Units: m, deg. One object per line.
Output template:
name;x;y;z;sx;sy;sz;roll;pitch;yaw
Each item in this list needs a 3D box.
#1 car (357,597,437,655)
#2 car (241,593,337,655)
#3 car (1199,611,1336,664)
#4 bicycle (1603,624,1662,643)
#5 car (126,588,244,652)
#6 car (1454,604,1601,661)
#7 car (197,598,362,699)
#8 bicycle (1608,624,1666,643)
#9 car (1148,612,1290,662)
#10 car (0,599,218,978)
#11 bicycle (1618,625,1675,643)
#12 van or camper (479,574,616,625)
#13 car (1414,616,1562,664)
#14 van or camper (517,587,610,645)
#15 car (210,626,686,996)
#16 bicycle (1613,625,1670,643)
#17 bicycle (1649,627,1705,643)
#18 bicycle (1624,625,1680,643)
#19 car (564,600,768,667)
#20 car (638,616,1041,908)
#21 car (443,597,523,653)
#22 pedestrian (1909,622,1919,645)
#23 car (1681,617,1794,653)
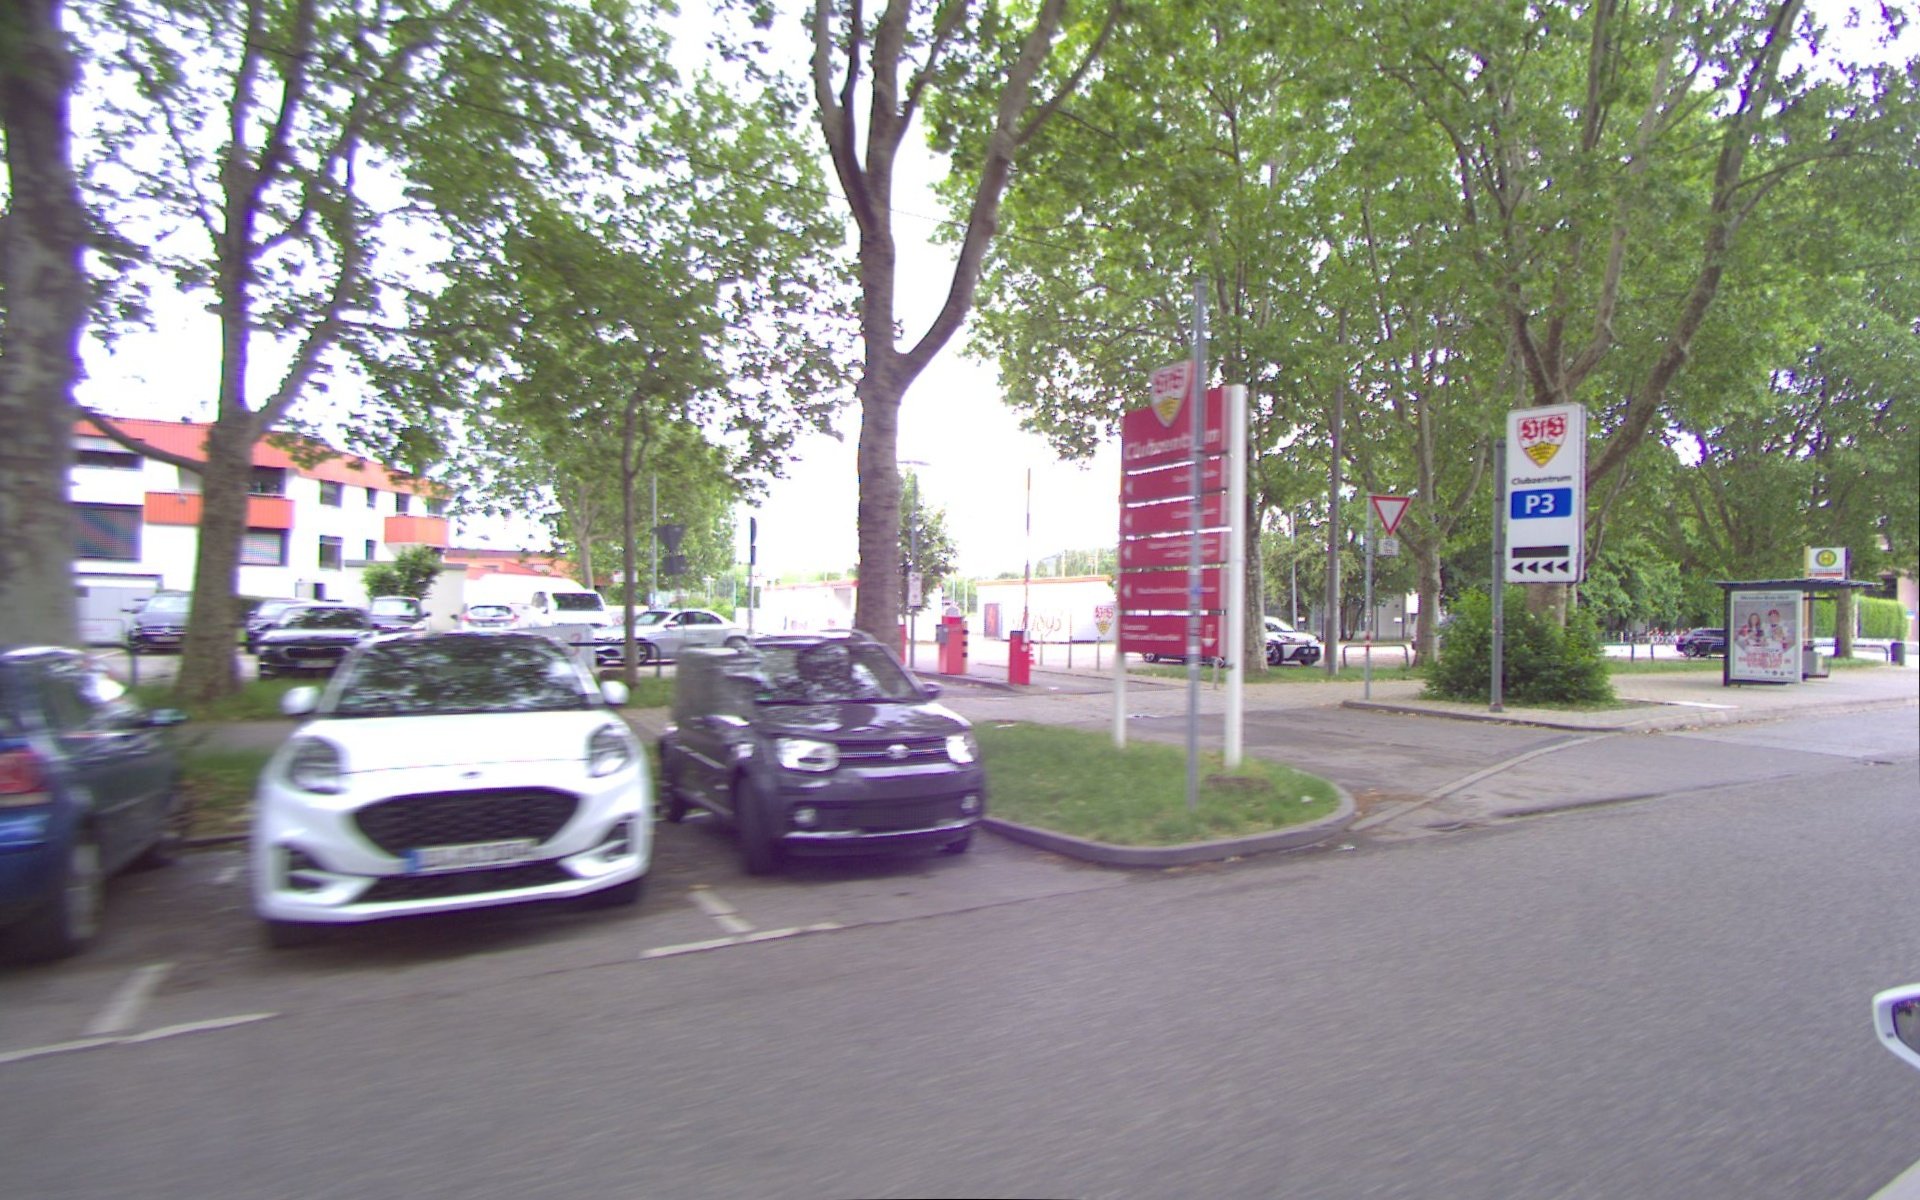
car;-16.770;0.724;29.859;1.937;1.569;4.299;2;0;-31
car;-18.580;0.626;27.982;1.937;1.569;4.299;2;0;-31
car;9.888;1.184;32.551;1.978;1.543;3.968;2;0;-29
bicycle;44.975;2.245;67.212;0.768;1.112;3.149;2;0;-44
car;-20.581;0.493;26.861;1.937;1.569;4.299;2;0;-31
car;22.382;1.245;39.811;2.234;2.052;4.598;2;0;-27
car;-12.149;0.787;18.228;2.178;1.569;4.299;2;0;-31
bicycle;46.193;2.287;68.589;0.768;1.112;3.149;2;0;-44
car;7.827;1.101;30.715;1.979;1.341;3.967;2;0;-30
car;-5.502;0.770;5.519;1.811;1.513;3.975;2;0;-30
bicycle;47.929;2.347;70.147;0.768;1.112;3.149;2;0;-44
van or camper;-17.819;0.015;43.456;5.243;2.040;1.983;2;0;-32
car;19.944;1.491;38.163;2.082;1.588;4.608;3;-1;-27
van or camper;-12.844;0.489;32.396;2.107;1.732;4.299;2;0;-31
car;-3.089;0.935;6.330;1.887;1.403;3.980;2;0;-26
bicycle;46.934;2.314;69.216;0.768;1.112;3.149;2;0;-44
bicycle;50.923;2.461;71.357;3.149;1.111;0.768;-1;-2;45
bicycle;48.714;2.399;70.718;3.148;1.112;0.768;1;0;45
car;-7.684;0.855;26.706;2.066;1.572;4.960;1;0;37
car;-1.208;0.965;7.846;1.783;1.561;3.977;2;0;-28
car;-14.691;0.734;30.819;1.770;1.569;4.195;2;0;-31
pedestrian;85.920;2.985;90.159;0.594;2.040;1.033;1;0;-41
car;37.836;1.672;48.940;2.213;1.627;3.956;2;-1;-39
